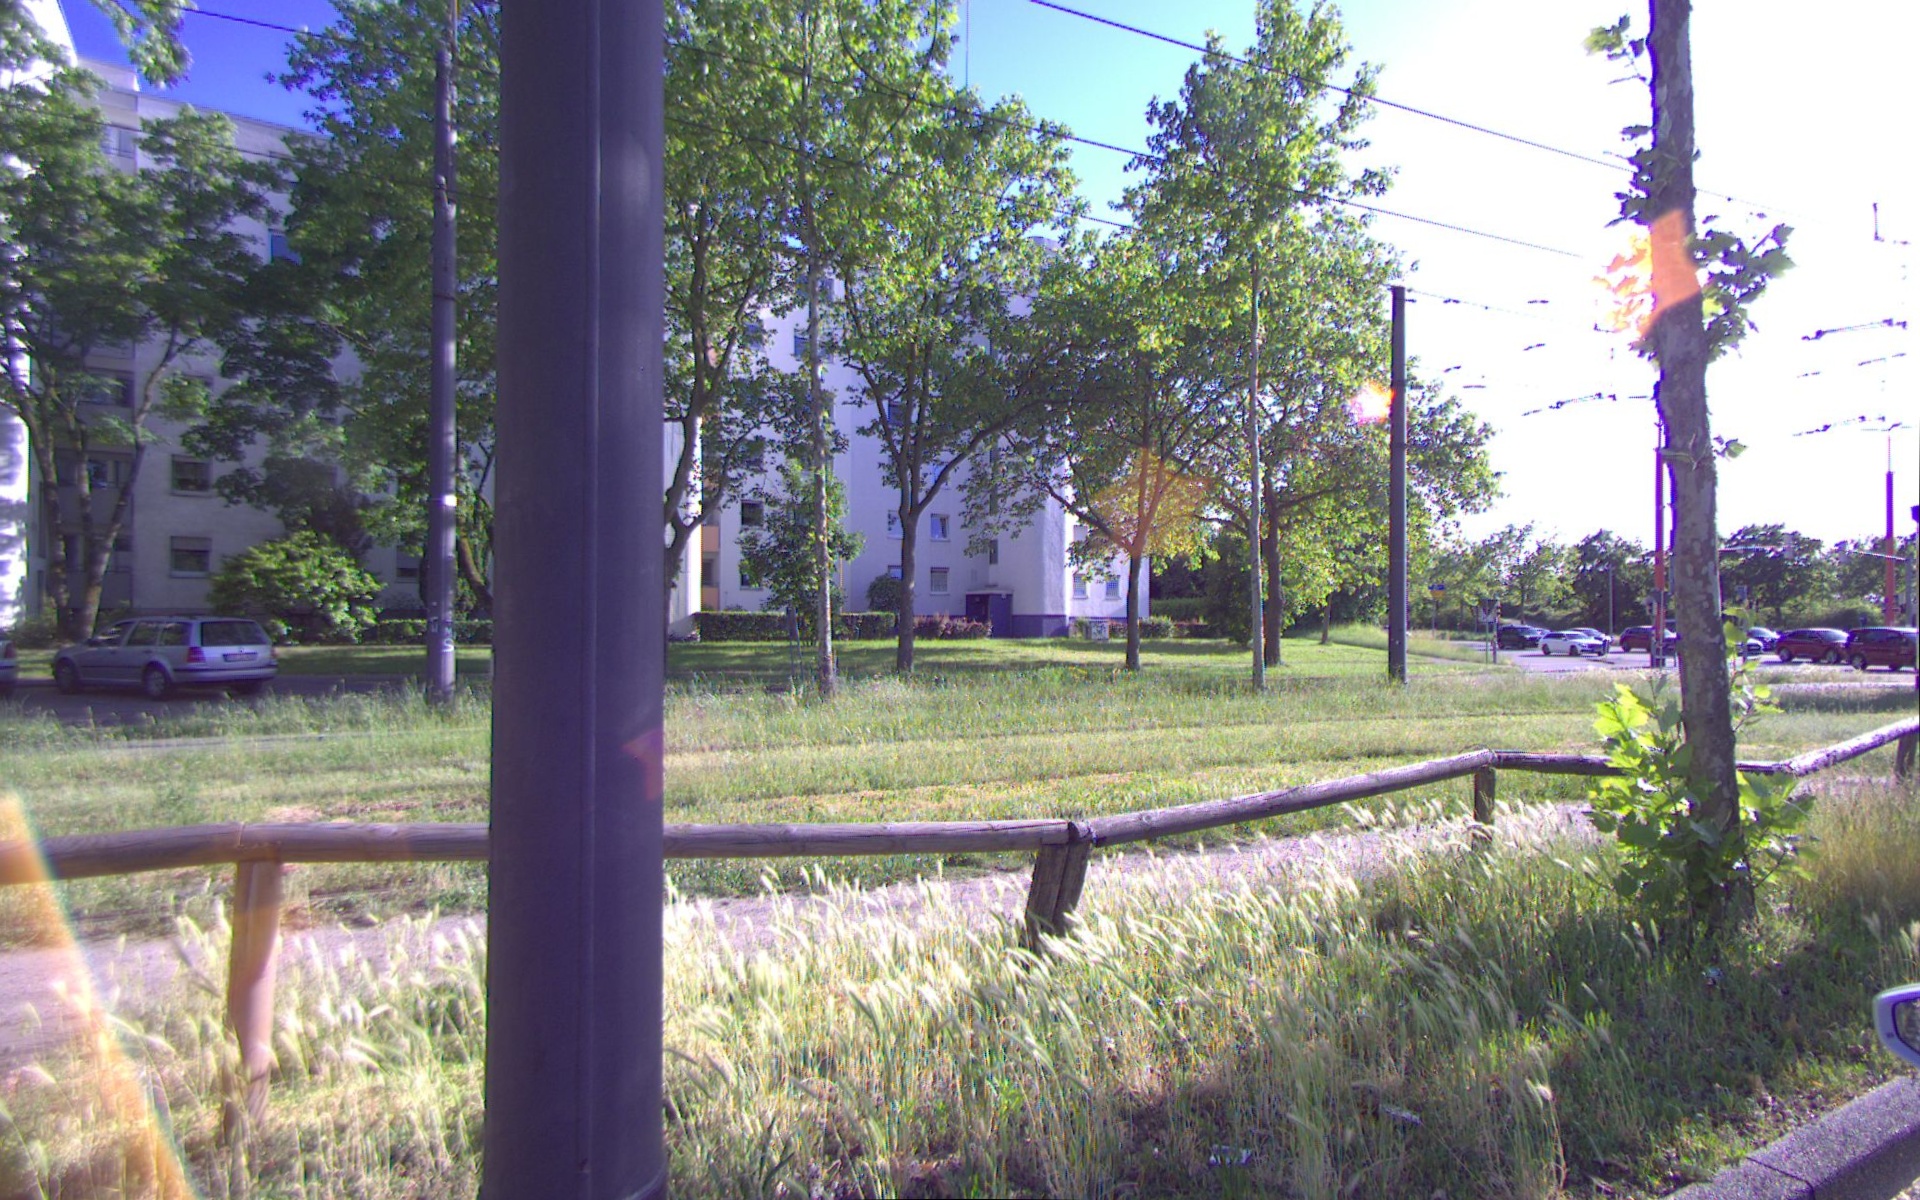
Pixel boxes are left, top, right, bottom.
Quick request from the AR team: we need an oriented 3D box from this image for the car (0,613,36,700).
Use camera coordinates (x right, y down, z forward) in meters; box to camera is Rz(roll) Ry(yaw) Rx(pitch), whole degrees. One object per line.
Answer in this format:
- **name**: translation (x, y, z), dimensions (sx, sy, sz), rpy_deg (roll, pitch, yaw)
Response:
- **car**: translation (-17.930, 0.929, 17.136), dimensions (3.609, 1.452, 1.703), rpy_deg (0, -1, 20)

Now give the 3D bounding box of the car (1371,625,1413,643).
- **car**: translation (41.612, 3.251, 96.867), dimensions (1.877, 1.619, 4.795), rpy_deg (1, -1, -2)

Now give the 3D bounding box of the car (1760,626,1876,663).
- **car**: translation (42.541, 2.167, 49.963), dimensions (1.806, 1.690, 4.565), rpy_deg (1, -1, -1)

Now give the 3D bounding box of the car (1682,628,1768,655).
- **car**: translation (45.649, 2.466, 60.037), dimensions (1.877, 1.483, 4.222), rpy_deg (1, -1, -2)

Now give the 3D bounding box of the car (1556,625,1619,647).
- **car**: translation (44.993, 2.566, 72.137), dimensions (1.877, 1.483, 4.055), rpy_deg (1, -1, -3)

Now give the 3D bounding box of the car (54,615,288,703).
- **car**: translation (-14.486, 1.028, 18.480), dimensions (3.609, 1.452, 1.732), rpy_deg (0, -1, 20)

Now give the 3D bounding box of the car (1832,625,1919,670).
- **car**: translation (39.371, 1.961, 42.102), dimensions (1.806, 1.755, 4.358), rpy_deg (1, -1, -1)

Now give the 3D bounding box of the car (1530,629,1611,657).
- **car**: translation (38.434, 2.677, 63.406), dimensions (1.961, 1.596, 4.929), rpy_deg (1, -1, -2)

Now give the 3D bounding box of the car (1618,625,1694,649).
- **car**: translation (45.517, 2.408, 65.802), dimensions (1.877, 1.483, 4.373), rpy_deg (1, -1, -2)

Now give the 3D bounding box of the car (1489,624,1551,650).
- **car**: translation (42.054, 2.741, 75.569), dimensions (1.877, 1.860, 4.795), rpy_deg (1, -1, -2)
